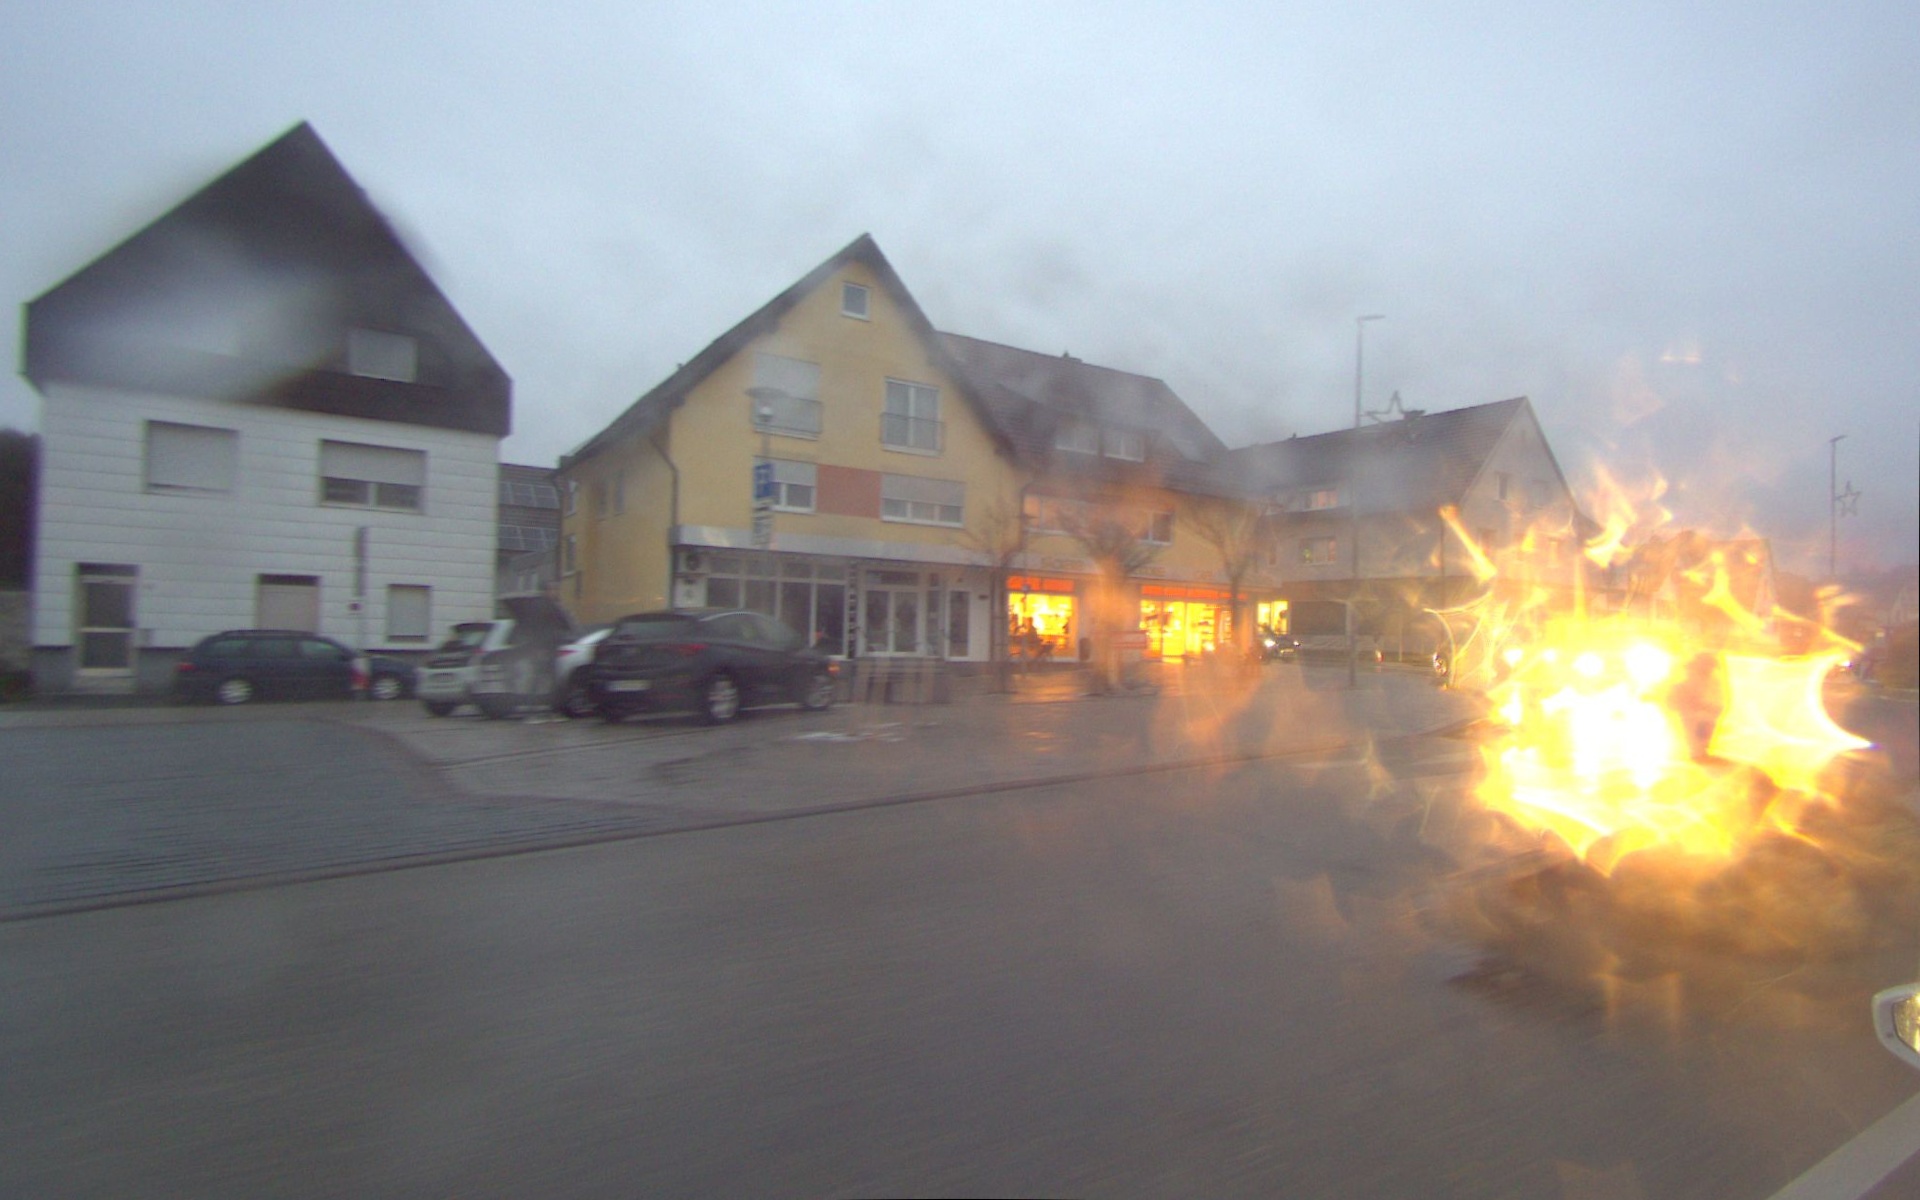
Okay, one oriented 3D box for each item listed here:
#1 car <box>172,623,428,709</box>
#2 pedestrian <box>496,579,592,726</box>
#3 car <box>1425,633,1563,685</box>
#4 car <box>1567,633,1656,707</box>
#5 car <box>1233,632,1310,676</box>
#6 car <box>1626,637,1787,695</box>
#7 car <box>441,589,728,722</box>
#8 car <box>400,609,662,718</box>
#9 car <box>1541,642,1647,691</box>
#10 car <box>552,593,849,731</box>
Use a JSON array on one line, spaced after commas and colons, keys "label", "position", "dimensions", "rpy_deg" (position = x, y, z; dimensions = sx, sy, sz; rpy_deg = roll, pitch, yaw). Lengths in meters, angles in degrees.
[{"label": "car", "position": [-13.900, 1.330, 21.419], "dimensions": [4.375, 1.520, 1.900], "rpy_deg": [1, 3, -33]}, {"label": "pedestrian", "position": [-5.153, 0.646, 12.468], "dimensions": [0.711, 1.734, 0.840], "rpy_deg": [-2, -2, 28]}, {"label": "car", "position": [16.290, 1.769, 30.847], "dimensions": [1.685, 1.440, 3.833], "rpy_deg": [3, -2, -11]}, {"label": "car", "position": [14.228, 1.461, 21.875], "dimensions": [1.484, 1.430, 3.355], "rpy_deg": [0, -1, 35]}, {"label": "car", "position": [13.515, 2.317, 43.861], "dimensions": [1.915, 1.614, 4.632], "rpy_deg": [1, 0, 0]}, {"label": "car", "position": [24.835, 2.156, 33.539], "dimensions": [1.687, 1.684, 4.028], "rpy_deg": [2, -1, -35]}, {"label": "car", "position": [-5.392, 0.808, 14.956], "dimensions": [1.805, 1.692, 3.895], "rpy_deg": [-2, -3, 23]}, {"label": "car", "position": [-7.270, 1.060, 17.423], "dimensions": [1.733, 1.652, 3.995], "rpy_deg": [-2, -3, 27]}, {"label": "car", "position": [21.051, 2.204, 33.300], "dimensions": [3.977, 1.440, 1.697], "rpy_deg": [5, -3, -37]}, {"label": "car", "position": [-3.270, 0.787, 13.617], "dimensions": [1.876, 1.551, 4.181], "rpy_deg": [-1, -2, 20]}]
